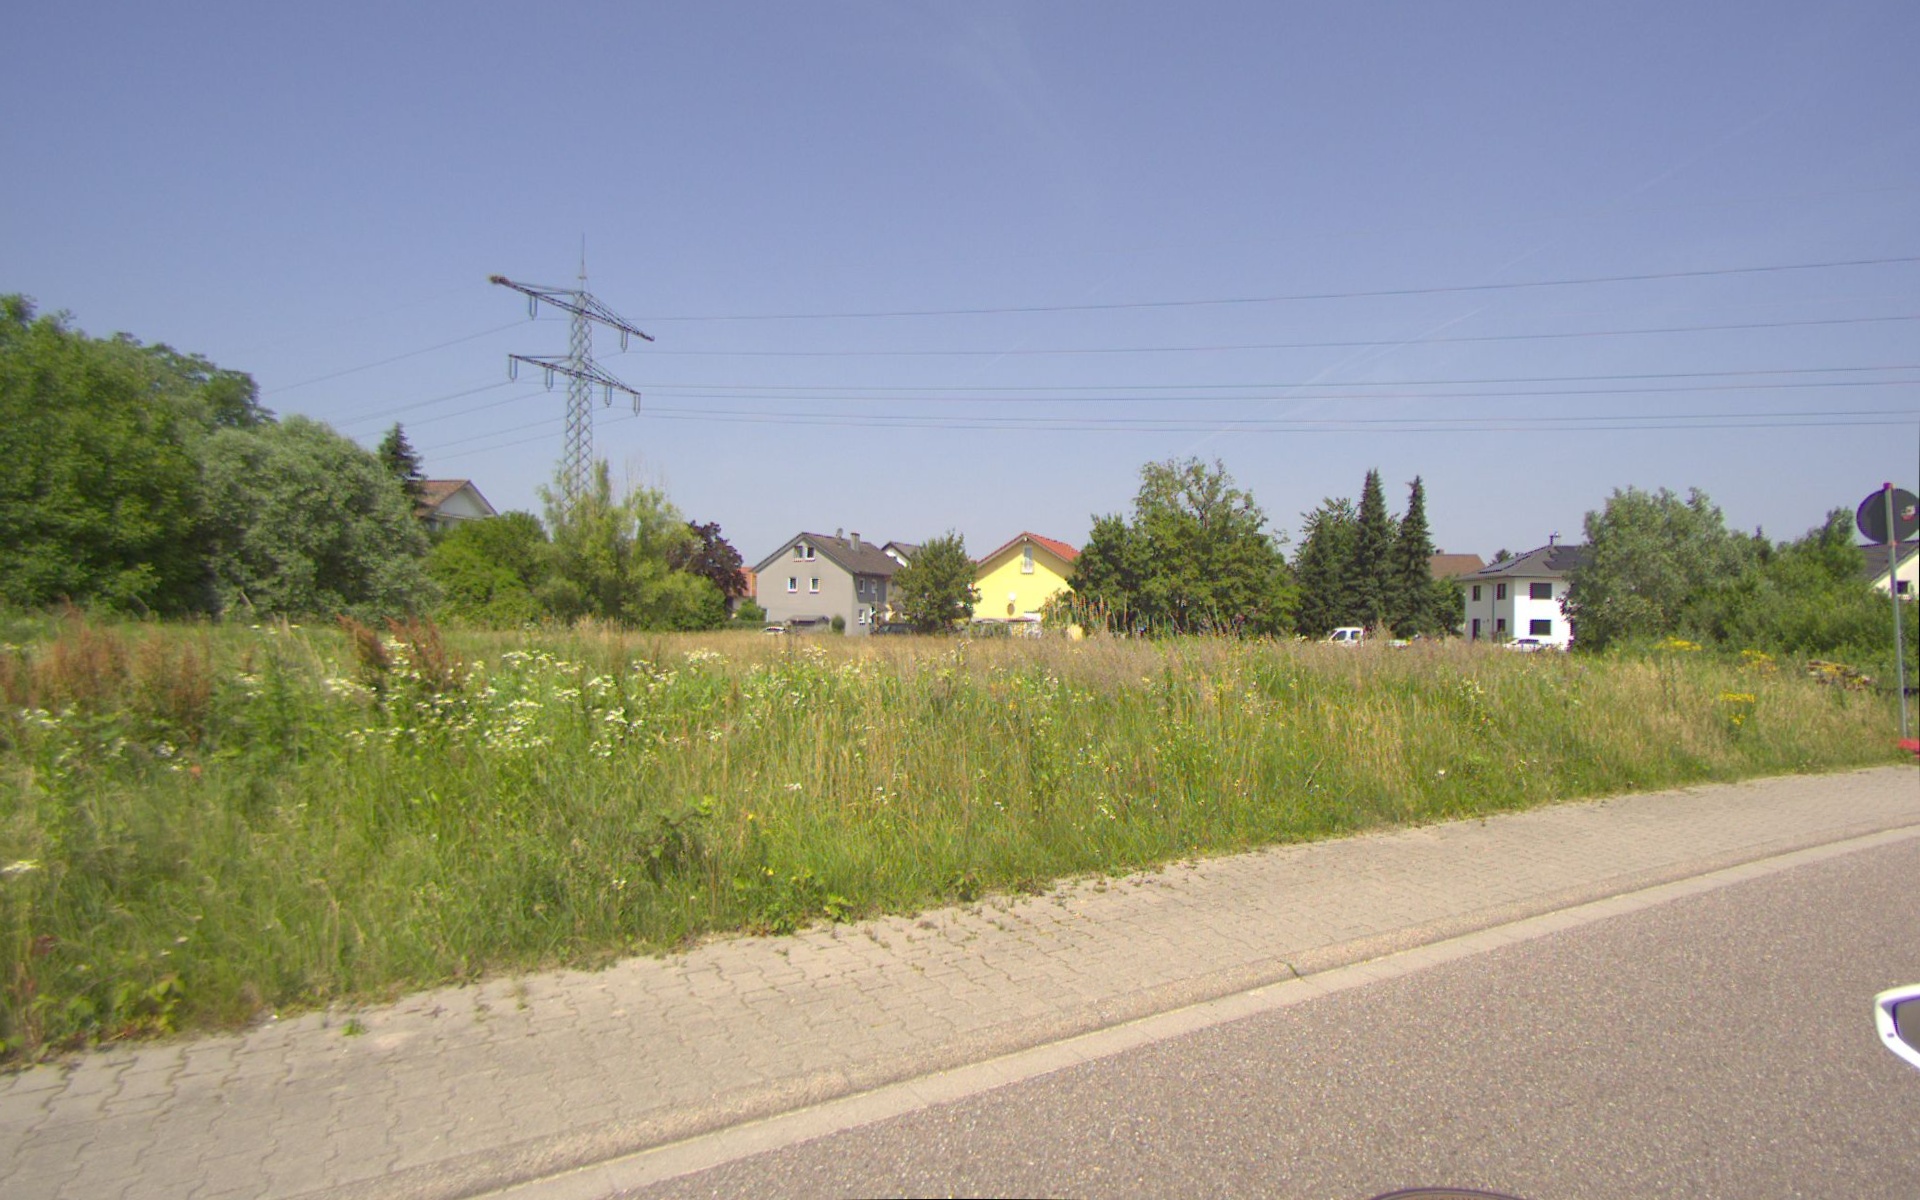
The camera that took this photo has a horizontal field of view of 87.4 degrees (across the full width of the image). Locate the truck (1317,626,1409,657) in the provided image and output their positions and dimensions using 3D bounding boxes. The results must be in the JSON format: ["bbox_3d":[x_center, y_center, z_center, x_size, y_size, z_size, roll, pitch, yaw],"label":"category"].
[{"bbox_3d":[28.838,2.939,72.022,5.771,2.037,2.122,1,-1,8],"label":"truck"}]

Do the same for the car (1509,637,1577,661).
[{"bbox_3d":[45.265,3.776,78.055,4.170,1.717,2.001,0,-1,16],"label":"car"}]
